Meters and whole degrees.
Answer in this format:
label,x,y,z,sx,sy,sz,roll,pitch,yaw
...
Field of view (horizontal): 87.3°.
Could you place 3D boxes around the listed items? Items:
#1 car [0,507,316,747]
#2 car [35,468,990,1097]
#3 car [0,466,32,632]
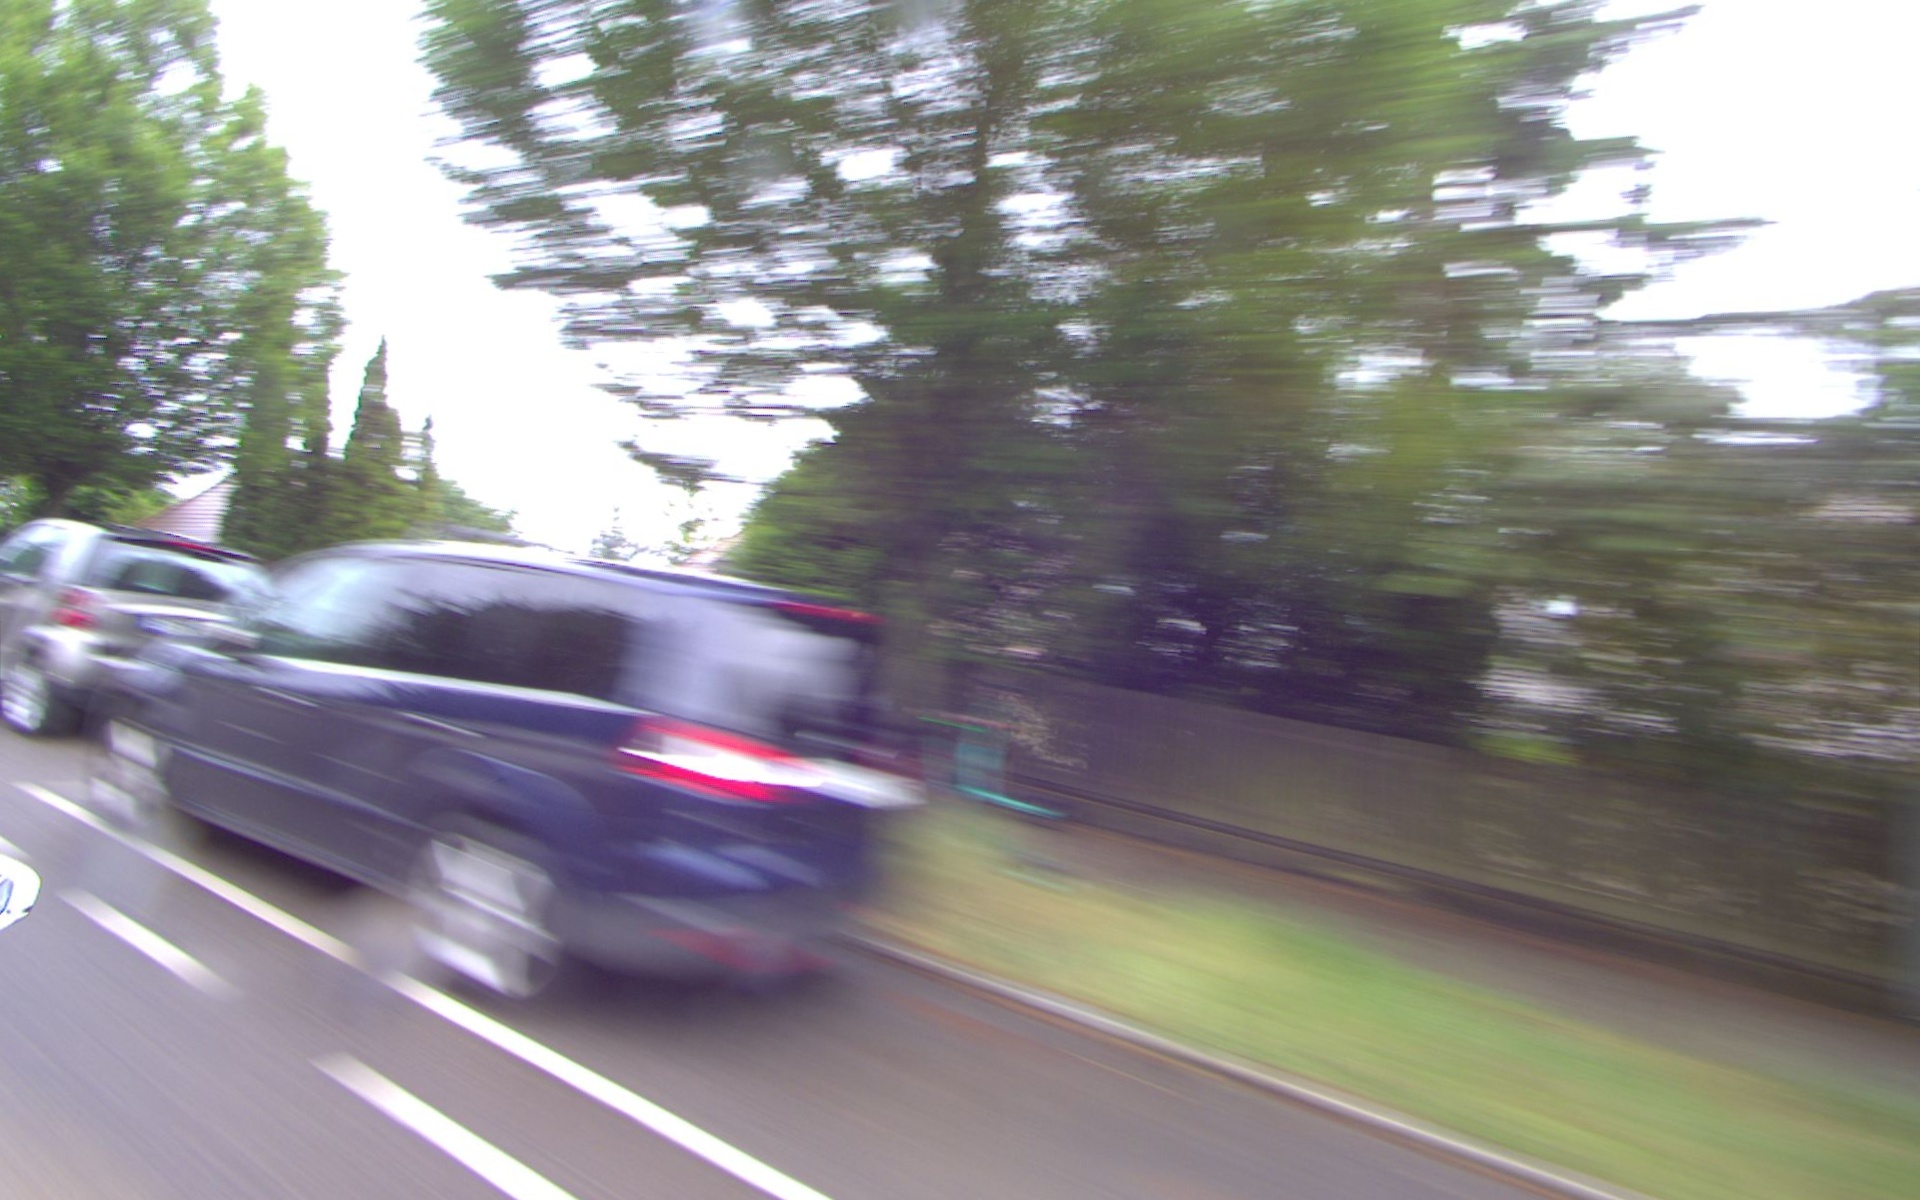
label,x,y,z,sx,sy,sz,roll,pitch,yaw
car,-7.044,0.174,8.289,2.905,1.575,1.602,7,-4,30
car,-2.396,0.537,5.070,4.598,1.802,1.787,7,-4,29
car,-13.196,-0.799,11.564,5.033,2.073,2.001,6,-5,29
